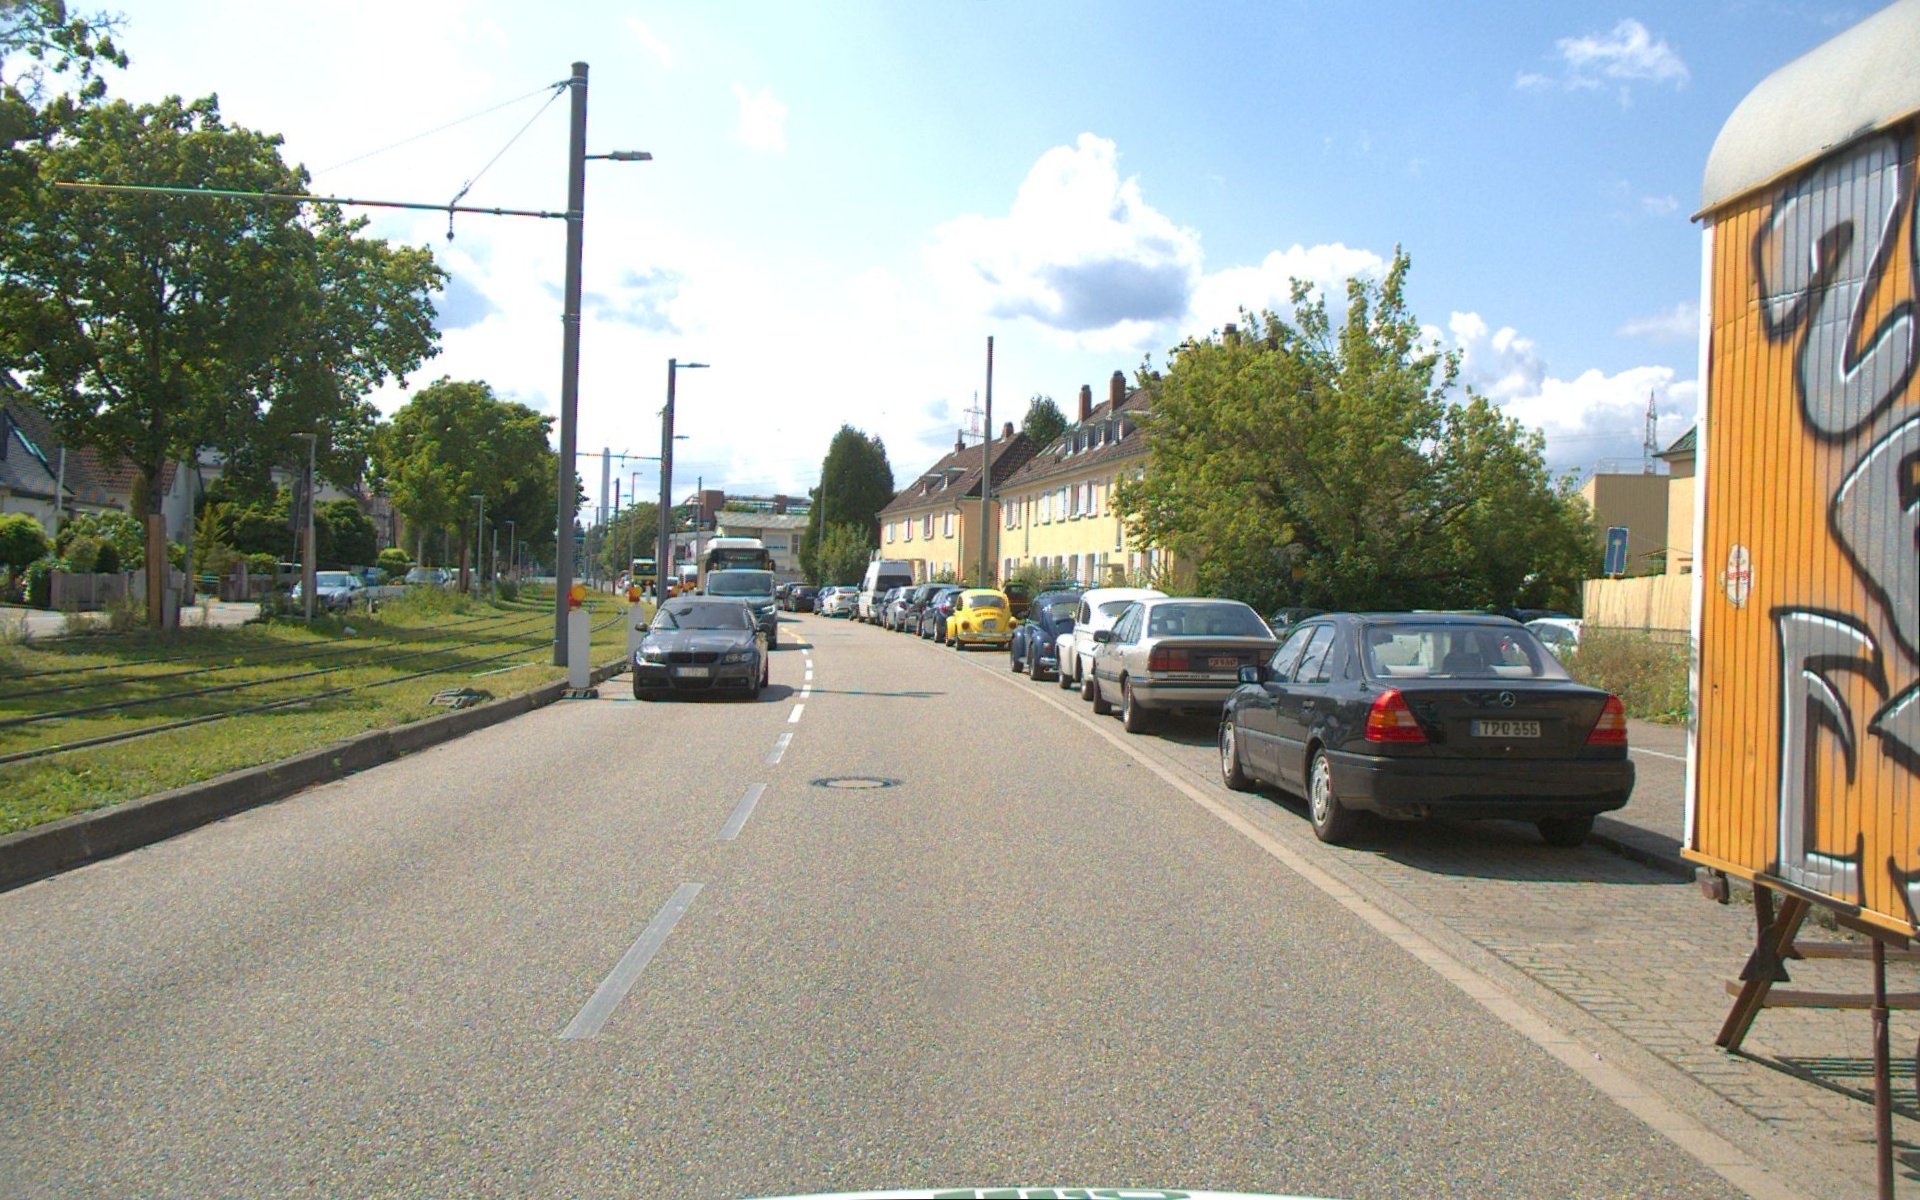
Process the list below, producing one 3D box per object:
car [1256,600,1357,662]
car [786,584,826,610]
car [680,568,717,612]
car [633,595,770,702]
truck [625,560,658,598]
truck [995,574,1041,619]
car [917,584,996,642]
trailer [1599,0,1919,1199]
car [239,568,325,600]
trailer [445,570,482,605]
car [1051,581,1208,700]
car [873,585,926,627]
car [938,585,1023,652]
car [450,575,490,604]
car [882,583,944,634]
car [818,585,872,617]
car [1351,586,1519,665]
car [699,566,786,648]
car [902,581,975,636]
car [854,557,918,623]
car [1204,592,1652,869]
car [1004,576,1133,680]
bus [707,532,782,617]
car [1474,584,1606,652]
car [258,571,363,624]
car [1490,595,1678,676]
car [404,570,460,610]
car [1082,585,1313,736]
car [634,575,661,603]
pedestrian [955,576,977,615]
[{"bbox_3d":[8.520,0.726,40.977,1.603,1.379,4.088,1,0,0],"label":"car"},{"bbox_3d":[-8.657,-0.188,92.761,1.733,1.442,3.987,0,1,-13],"label":"car"},{"bbox_3d":[-15.429,-0.611,97.464,2.064,2.486,5.558,2,0,-10],"label":"car"},{"bbox_3d":[-3.713,0.641,24.352,1.691,1.413,4.118,0,0,-5],"label":"car"},{"bbox_3d":[-30.173,-1.962,156.651,2.518,3.520,7.120,0,1,-15],"label":"truck"},{"bbox_3d":[2.243,-0.132,64.699,1.321,1.718,2.436,1,0,-9],"label":"truck"},{"bbox_3d":[-0.155,0.335,46.898,1.606,1.508,4.116,2,0,-9],"label":"car"},{"bbox_3d":[3.465,-0.128,2.733,2.636,3.283,5.079,1,0,-2],"label":"trailer"},{"bbox_3d":[-35.230,-0.832,86.012,3.922,1.598,1.787,1,0,-16],"label":"car"},{"bbox_3d":[-25.269,-0.669,84.183,1.538,1.707,3.361,1,0,-13],"label":"trailer"},{"bbox_3d":[2.367,0.516,24.139,1.546,1.539,4.456,1,0,-3],"label":"car"},{"bbox_3d":[-2.243,0.204,60.947,1.507,1.470,3.730,2,0,-9],"label":"car"},{"bbox_3d":[0.471,0.421,41.706,1.605,1.508,3.926,-1,1,-7],"label":"car"},{"bbox_3d":[-26.574,-0.606,89.786,1.698,1.531,4.554,0,1,-12],"label":"car"},{"bbox_3d":[-1.636,0.263,56.402,1.606,1.630,4.021,2,0,-9],"label":"car"},{"bbox_3d":[-5.486,0.044,78.624,1.768,1.483,4.748,-1,0,-14],"label":"car"},{"bbox_3d":[9.097,0.453,32.003,1.605,1.398,4.081,1,0,-8],"label":"car"},{"bbox_3d":[-5.588,0.148,43.032,1.917,2.000,5.288,1,0,-4],"label":"car"},{"bbox_3d":[-0.718,0.244,52.275,1.607,1.630,3.921,2,0,-11],"label":"car"},{"bbox_3d":[-3.012,-0.415,66.245,1.894,2.524,5.504,0,0,-10],"label":"car"},{"bbox_3d":[2.913,0.714,11.320,1.546,1.474,4.450,1,0,-3],"label":"car"},{"bbox_3d":[1.847,0.448,29.250,1.519,1.670,4.241,1,0,-6],"label":"car"},{"bbox_3d":[-9.810,-1.129,74.304,2.589,3.472,12.215,0,1,-11],"label":"bus"},{"bbox_3d":[14.537,0.417,41.682,1.604,1.574,4.084,-2,1,-5],"label":"car"},{"bbox_3d":[-18.898,-0.086,48.321,1.785,1.430,4.804,2,0,-8],"label":"car"},{"bbox_3d":[11.827,0.630,31.650,1.605,1.398,4.081,1,0,-8],"label":"car"},{"bbox_3d":[-22.102,-0.440,69.353,1.779,1.614,4.554,0,1,-12],"label":"car"},{"bbox_3d":[2.570,0.592,19.048,1.673,1.474,4.832,1,0,-3],"label":"car"},{"bbox_3d":[-20.897,-0.763,110.594,1.703,1.804,4.297,2,0,-11],"label":"car"},{"bbox_3d":[0.252,-0.218,72.653,0.838,1.681,0.635,2,0,-9],"label":"pedestrian"}]
